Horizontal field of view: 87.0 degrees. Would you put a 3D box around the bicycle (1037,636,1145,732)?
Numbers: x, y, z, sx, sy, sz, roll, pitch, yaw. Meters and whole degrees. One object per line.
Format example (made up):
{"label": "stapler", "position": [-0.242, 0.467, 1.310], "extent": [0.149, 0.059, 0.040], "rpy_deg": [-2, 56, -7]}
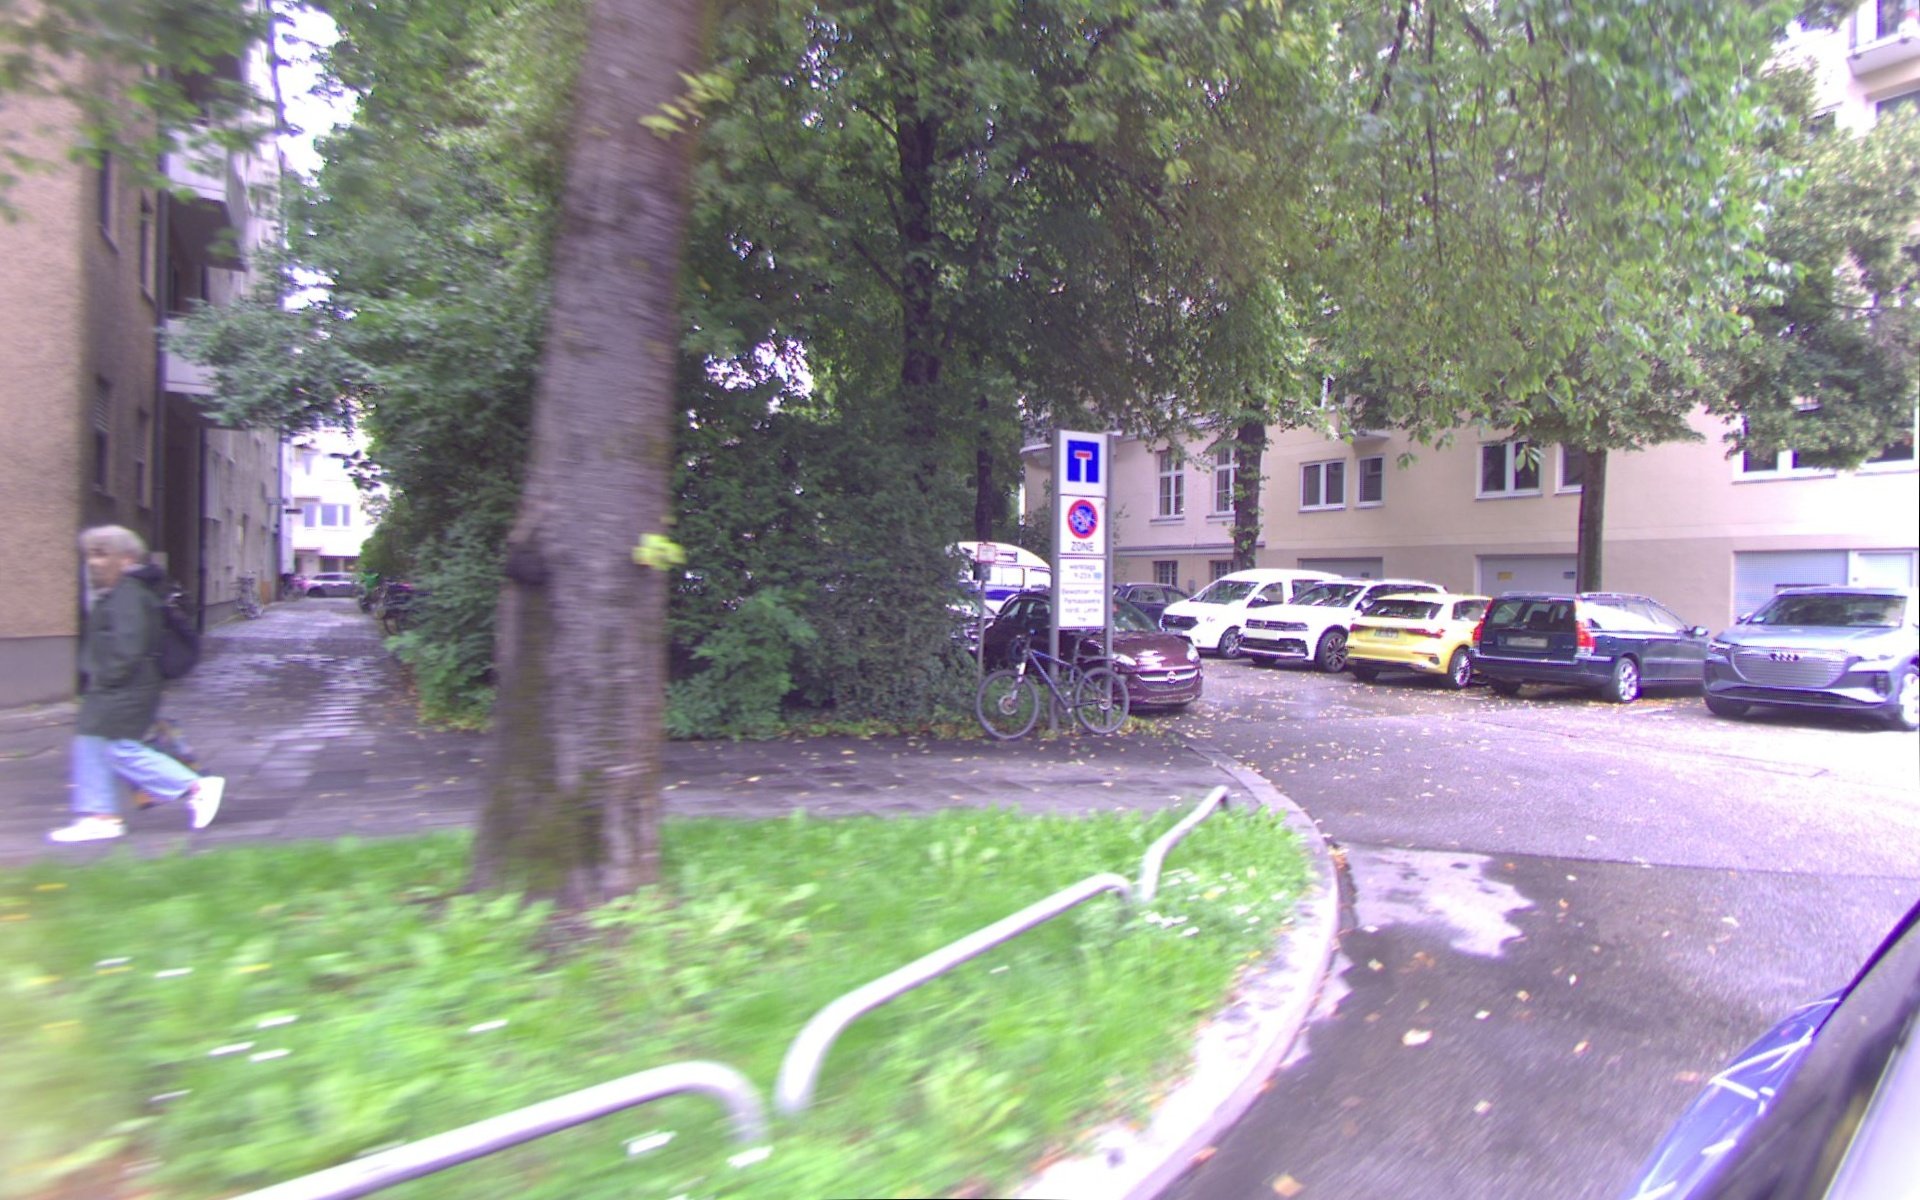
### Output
{"label": "bicycle", "position": [1.285, 0.805, 9.894], "extent": [1.057, 0.891, 0.250], "rpy_deg": [0, 0, -23]}

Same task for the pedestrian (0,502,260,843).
{"label": "pedestrian", "position": [-4.377, 0.337, 5.404], "extent": [0.960, 1.644, 0.674], "rpy_deg": [-1, 1, -28]}

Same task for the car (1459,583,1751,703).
{"label": "car", "position": [9.373, 0.518, 14.643], "extent": [4.163, 1.485, 2.056], "rpy_deg": [0, 1, -34]}

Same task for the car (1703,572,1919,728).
{"label": "car", "position": [10.873, 0.487, 12.149], "extent": [4.163, 1.585, 1.827], "rpy_deg": [0, 1, -34]}

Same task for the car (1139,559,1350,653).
{"label": "car", "position": [5.914, 0.091, 20.892], "extent": [4.162, 1.773, 1.919], "rpy_deg": [0, 1, -33]}

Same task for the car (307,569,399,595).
{"label": "car", "position": [-31.131, -0.918, 52.021], "extent": [3.917, 1.274, 1.820], "rpy_deg": [0, 1, -26]}

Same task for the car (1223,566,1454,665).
{"label": "car", "position": [7.007, 0.236, 18.632], "extent": [4.163, 1.640, 1.919], "rpy_deg": [0, 1, -34]}

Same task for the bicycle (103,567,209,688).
{"label": "bicycle", "position": [-9.128, 0.250, 11.567], "extent": [0.690, 1.232, 2.433], "rpy_deg": [0, 1, -33]}

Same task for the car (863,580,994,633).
{"label": "car", "position": [-0.969, 0.178, 32.705], "extent": [4.037, 1.623, 1.901], "rpy_deg": [1, 1, 6]}

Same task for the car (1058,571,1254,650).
{"label": "car", "position": [4.426, 0.197, 22.706], "extent": [4.162, 1.619, 1.919], "rpy_deg": [0, 1, -33]}

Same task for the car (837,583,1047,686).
{"label": "car", "position": [-0.430, 0.483, 17.130], "extent": [1.700, 1.516, 4.049], "rpy_deg": [0, 1, -32]}

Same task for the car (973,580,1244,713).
{"label": "car", "position": [1.814, 0.495, 13.521], "extent": [1.698, 1.516, 3.714], "rpy_deg": [0, 1, -28]}

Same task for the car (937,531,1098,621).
{"label": "car", "position": [1.533, -0.634, 27.790], "extent": [4.095, 2.342, 1.907], "rpy_deg": [0, 0, -8]}

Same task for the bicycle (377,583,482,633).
{"label": "bicycle", "position": [-10.342, 0.143, 19.765], "extent": [1.728, 0.924, 0.532], "rpy_deg": [0, 1, -41]}

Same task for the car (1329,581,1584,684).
{"label": "car", "position": [8.172, 0.457, 16.561], "extent": [4.163, 1.485, 1.919], "rpy_deg": [0, 1, -34]}
